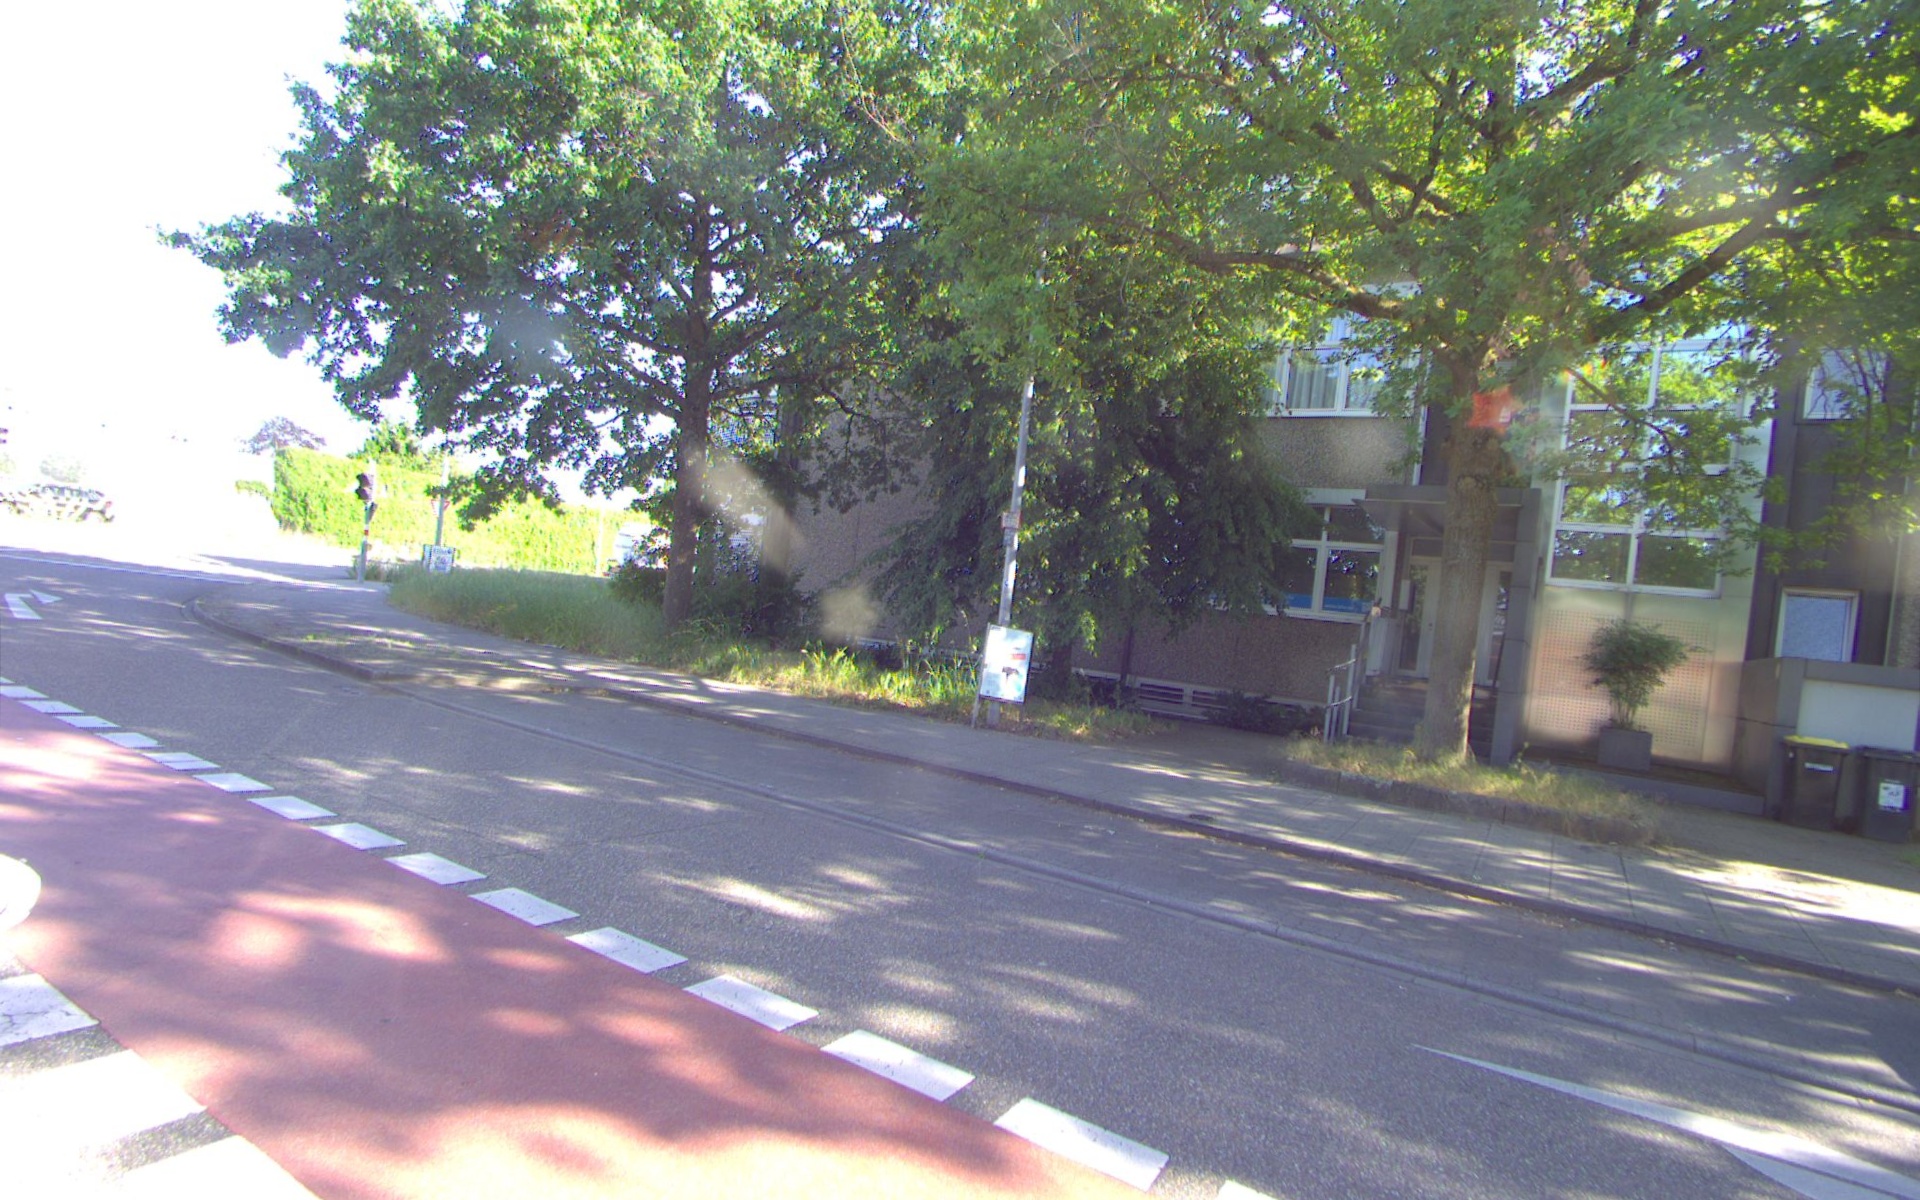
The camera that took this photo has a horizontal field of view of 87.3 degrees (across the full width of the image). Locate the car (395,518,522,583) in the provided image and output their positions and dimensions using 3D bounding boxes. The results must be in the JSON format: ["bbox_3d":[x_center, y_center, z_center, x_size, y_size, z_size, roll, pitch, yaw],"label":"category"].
[{"bbox_3d":[-13.910,-1.326,28.131,1.433,1.311,3.412,7,-2,7],"label":"car"}]

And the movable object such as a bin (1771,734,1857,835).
[{"bbox_3d":[10.200,2.186,12.034,0.571,1.045,0.713,7,0,31],"label":"movable object such as a bin"}]

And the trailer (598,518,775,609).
[{"bbox_3d":[-14.843,-1.839,56.087,2.352,3.740,11.507,7,-1,25],"label":"trailer"}]

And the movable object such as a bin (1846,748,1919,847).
[{"bbox_3d":[10.811,2.284,11.706,0.566,1.019,0.629,6,-1,31],"label":"movable object such as a bin"}]

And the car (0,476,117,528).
[{"bbox_3d":[-33.910,-3.672,36.940,1.548,1.317,4.170,6,-2,28],"label":"car"}]
